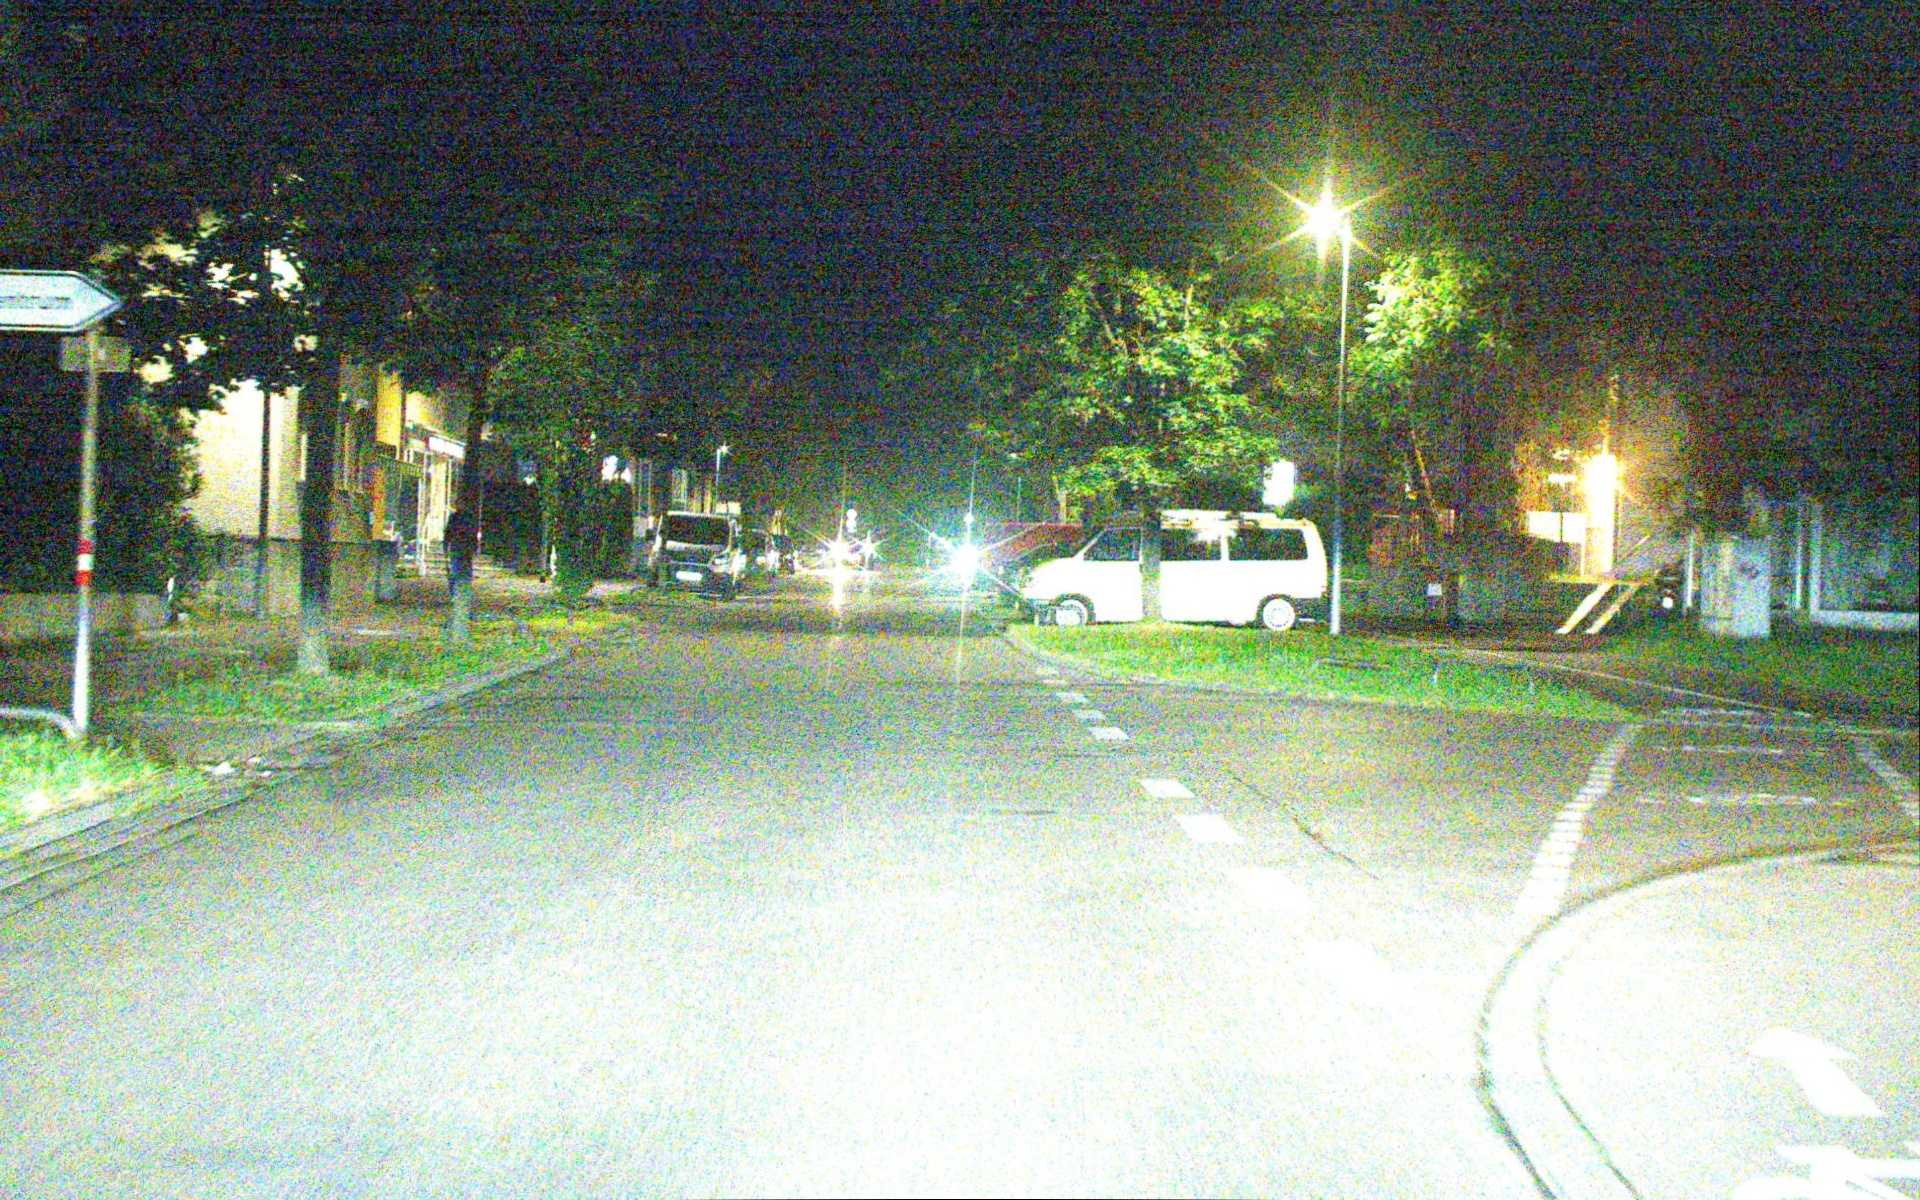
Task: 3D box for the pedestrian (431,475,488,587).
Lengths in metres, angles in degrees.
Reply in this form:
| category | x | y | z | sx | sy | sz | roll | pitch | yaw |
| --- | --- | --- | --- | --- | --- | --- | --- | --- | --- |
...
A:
| category | x | y | z | sx | sy | sz | roll | pitch | yaw |
| --- | --- | --- | --- | --- | --- | --- | --- | --- | --- |
| pedestrian | -9.184 | -1.268 | 63.097 | 0.785 | 2.007 | 1.204 | 3 | 1 | -1 |

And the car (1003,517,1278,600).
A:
| category | x | y | z | sx | sy | sz | roll | pitch | yaw |
| --- | --- | --- | --- | --- | --- | --- | --- | --- | --- |
| car | 3.482 | -0.828 | 66.951 | 5.182 | 1.588 | 2.102 | 0 | 1 | -2 |

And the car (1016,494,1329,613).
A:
| category | x | y | z | sx | sy | sz | roll | pitch | yaw |
| --- | --- | --- | --- | --- | --- | --- | --- | --- | --- |
| car | 3.596 | -0.803 | 58.970 | 5.182 | 2.007 | 2.102 | 0 | 1 | -2 |

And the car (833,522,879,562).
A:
| category | x | y | z | sx | sy | sz | roll | pitch | yaw |
| --- | --- | --- | --- | --- | --- | --- | --- | --- | --- |
| car | -4.470 | -2.505 | 147.431 | 1.927 | 1.643 | 3.822 | 0 | 1 | -2 |

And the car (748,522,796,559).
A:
| category | x | y | z | sx | sy | sz | roll | pitch | yaw |
| --- | --- | --- | --- | --- | --- | --- | --- | --- | --- |
| car | -6.992 | -2.232 | 128.207 | 1.683 | 1.326 | 3.600 | 1 | 1 | -2 |

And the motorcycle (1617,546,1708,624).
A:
| category | x | y | z | sx | sy | sz | roll | pitch | yaw |
| --- | --- | --- | --- | --- | --- | --- | --- | --- | --- |
| motorcycle | 12.671 | -0.284 | 61.933 | 1.071 | 1.322 | 2.704 | 2 | 2 | 23 |

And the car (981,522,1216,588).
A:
| category | x | y | z | sx | sy | sz | roll | pitch | yaw |
| --- | --- | --- | --- | --- | --- | --- | --- | --- | --- |
| car | 3.113 | -1.028 | 77.954 | 5.182 | 1.464 | 2.102 | 0 | 1 | -2 |

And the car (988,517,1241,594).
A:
| category | x | y | z | sx | sy | sz | roll | pitch | yaw |
| --- | --- | --- | --- | --- | --- | --- | --- | --- | --- |
| car | 3.218 | -0.945 | 72.441 | 5.182 | 1.588 | 2.102 | 0 | 1 | -2 |

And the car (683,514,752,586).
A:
| category | x | y | z | sx | sy | sz | roll | pitch | yaw |
| --- | --- | --- | --- | --- | --- | --- | --- | --- | --- |
| car | -6.091 | -1.278 | 86.490 | 1.534 | 1.682 | 3.212 | 3 | 1 | -2 |

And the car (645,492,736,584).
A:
| category | x | y | z | sx | sy | sz | roll | pitch | yaw |
| --- | --- | --- | --- | --- | --- | --- | --- | --- | --- |
| car | -6.187 | -1.440 | 79.333 | 1.824 | 1.979 | 4.466 | 3 | 1 | -2 |

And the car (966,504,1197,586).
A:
| category | x | y | z | sx | sy | sz | roll | pitch | yaw |
| --- | --- | --- | --- | --- | --- | --- | --- | --- | --- |
| car | 2.872 | -1.301 | 80.637 | 5.184 | 1.880 | 2.101 | 0 | 1 | 9 |

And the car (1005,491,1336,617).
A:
| category | x | y | z | sx | sy | sz | roll | pitch | yaw |
| --- | --- | --- | --- | --- | --- | --- | --- | --- | --- |
| car | 3.375 | -0.753 | 55.877 | 5.182 | 2.007 | 2.102 | 0 | 1 | -2 |
